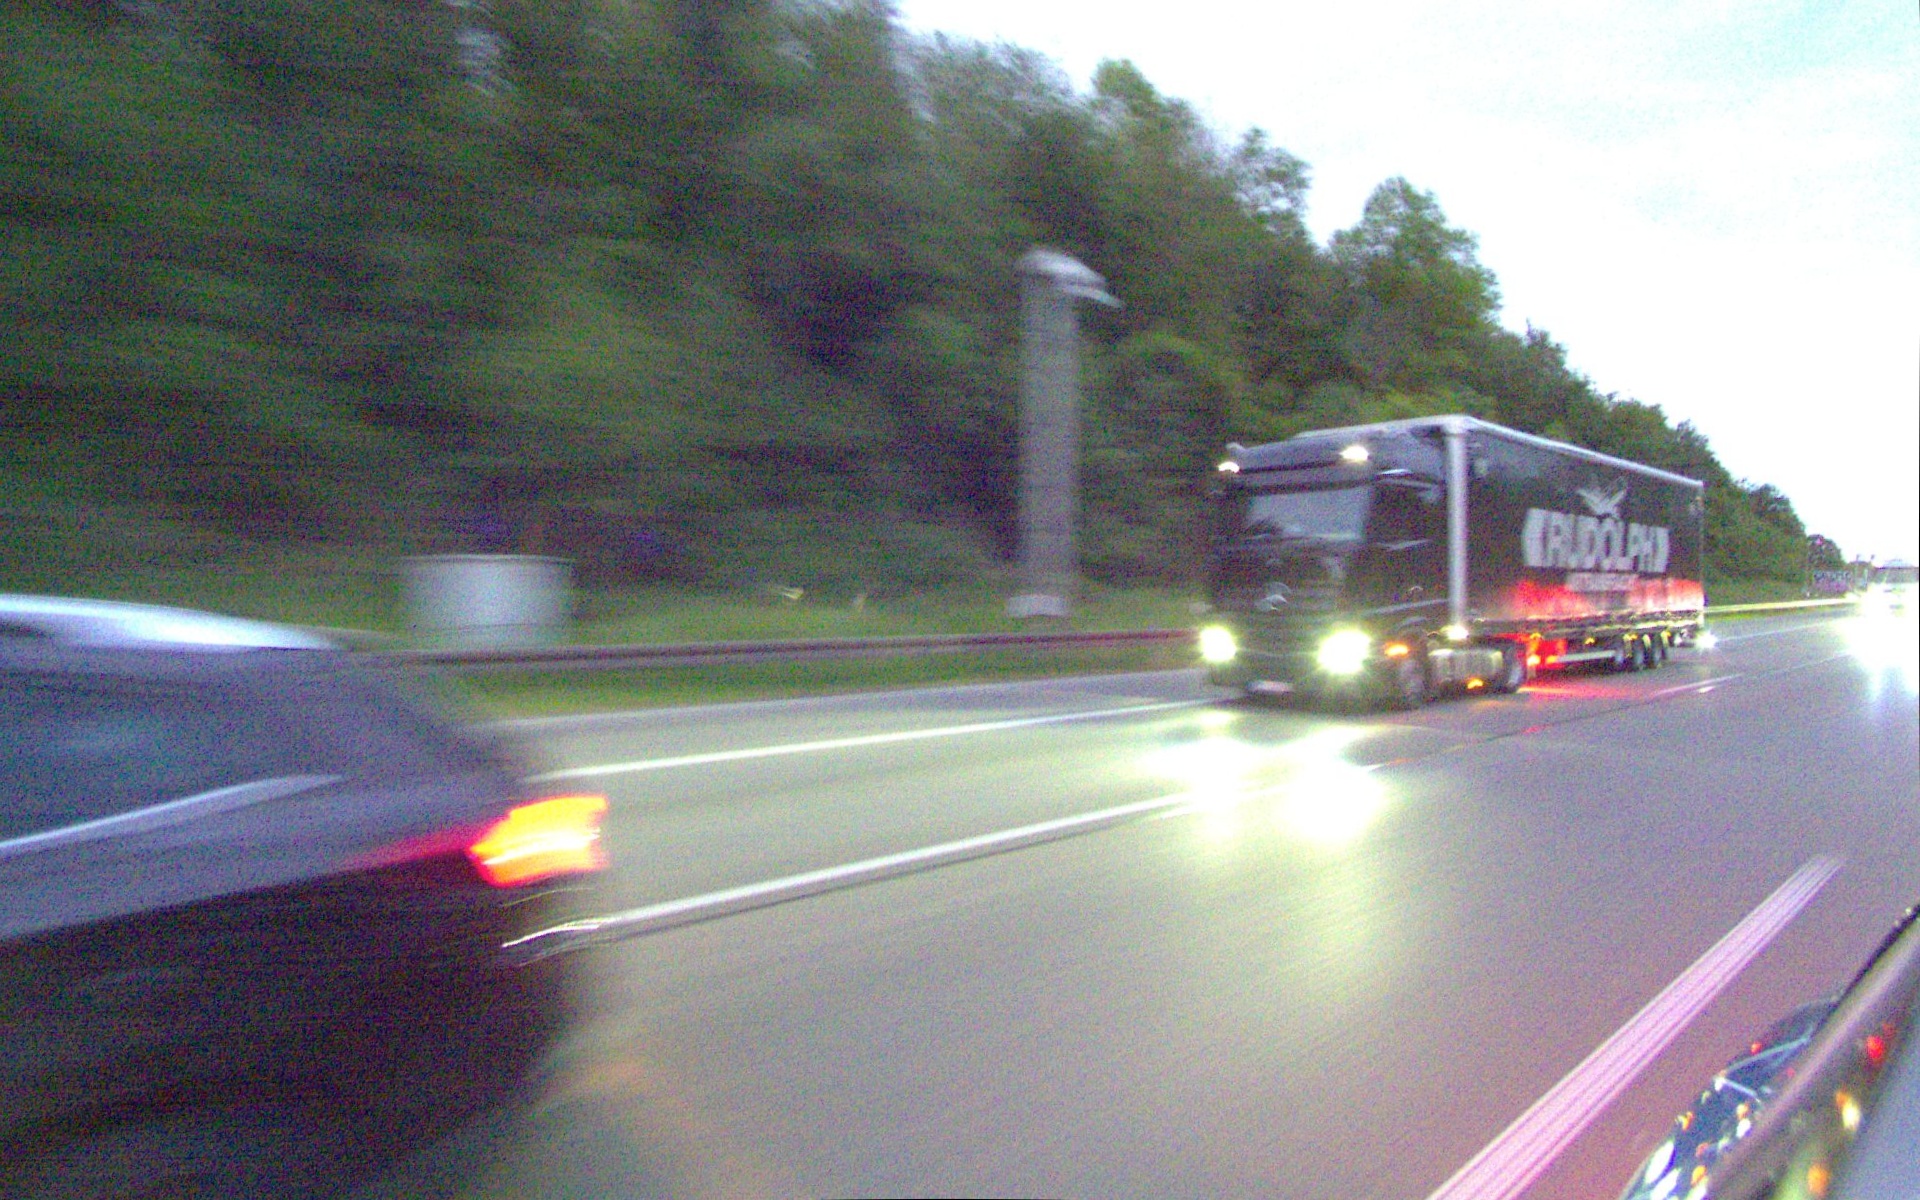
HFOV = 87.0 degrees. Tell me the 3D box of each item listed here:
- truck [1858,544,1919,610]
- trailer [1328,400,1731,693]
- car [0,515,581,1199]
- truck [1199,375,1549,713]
[{"bbox_3d":[62.893,-1.472,67.028,13.298,4.018,3.339,0,1,-40],"label":"truck"},{"bbox_3d":[11.681,-0.796,19.545,13.269,4.124,2.487,0,0,-41],"label":"trailer"},{"bbox_3d":[-3.138,0.632,1.086,4.865,1.509,1.693,0,0,-43],"label":"car"},{"bbox_3d":[6.186,-0.696,14.770,5.492,4.018,2.496,0,0,-40],"label":"truck"}]
